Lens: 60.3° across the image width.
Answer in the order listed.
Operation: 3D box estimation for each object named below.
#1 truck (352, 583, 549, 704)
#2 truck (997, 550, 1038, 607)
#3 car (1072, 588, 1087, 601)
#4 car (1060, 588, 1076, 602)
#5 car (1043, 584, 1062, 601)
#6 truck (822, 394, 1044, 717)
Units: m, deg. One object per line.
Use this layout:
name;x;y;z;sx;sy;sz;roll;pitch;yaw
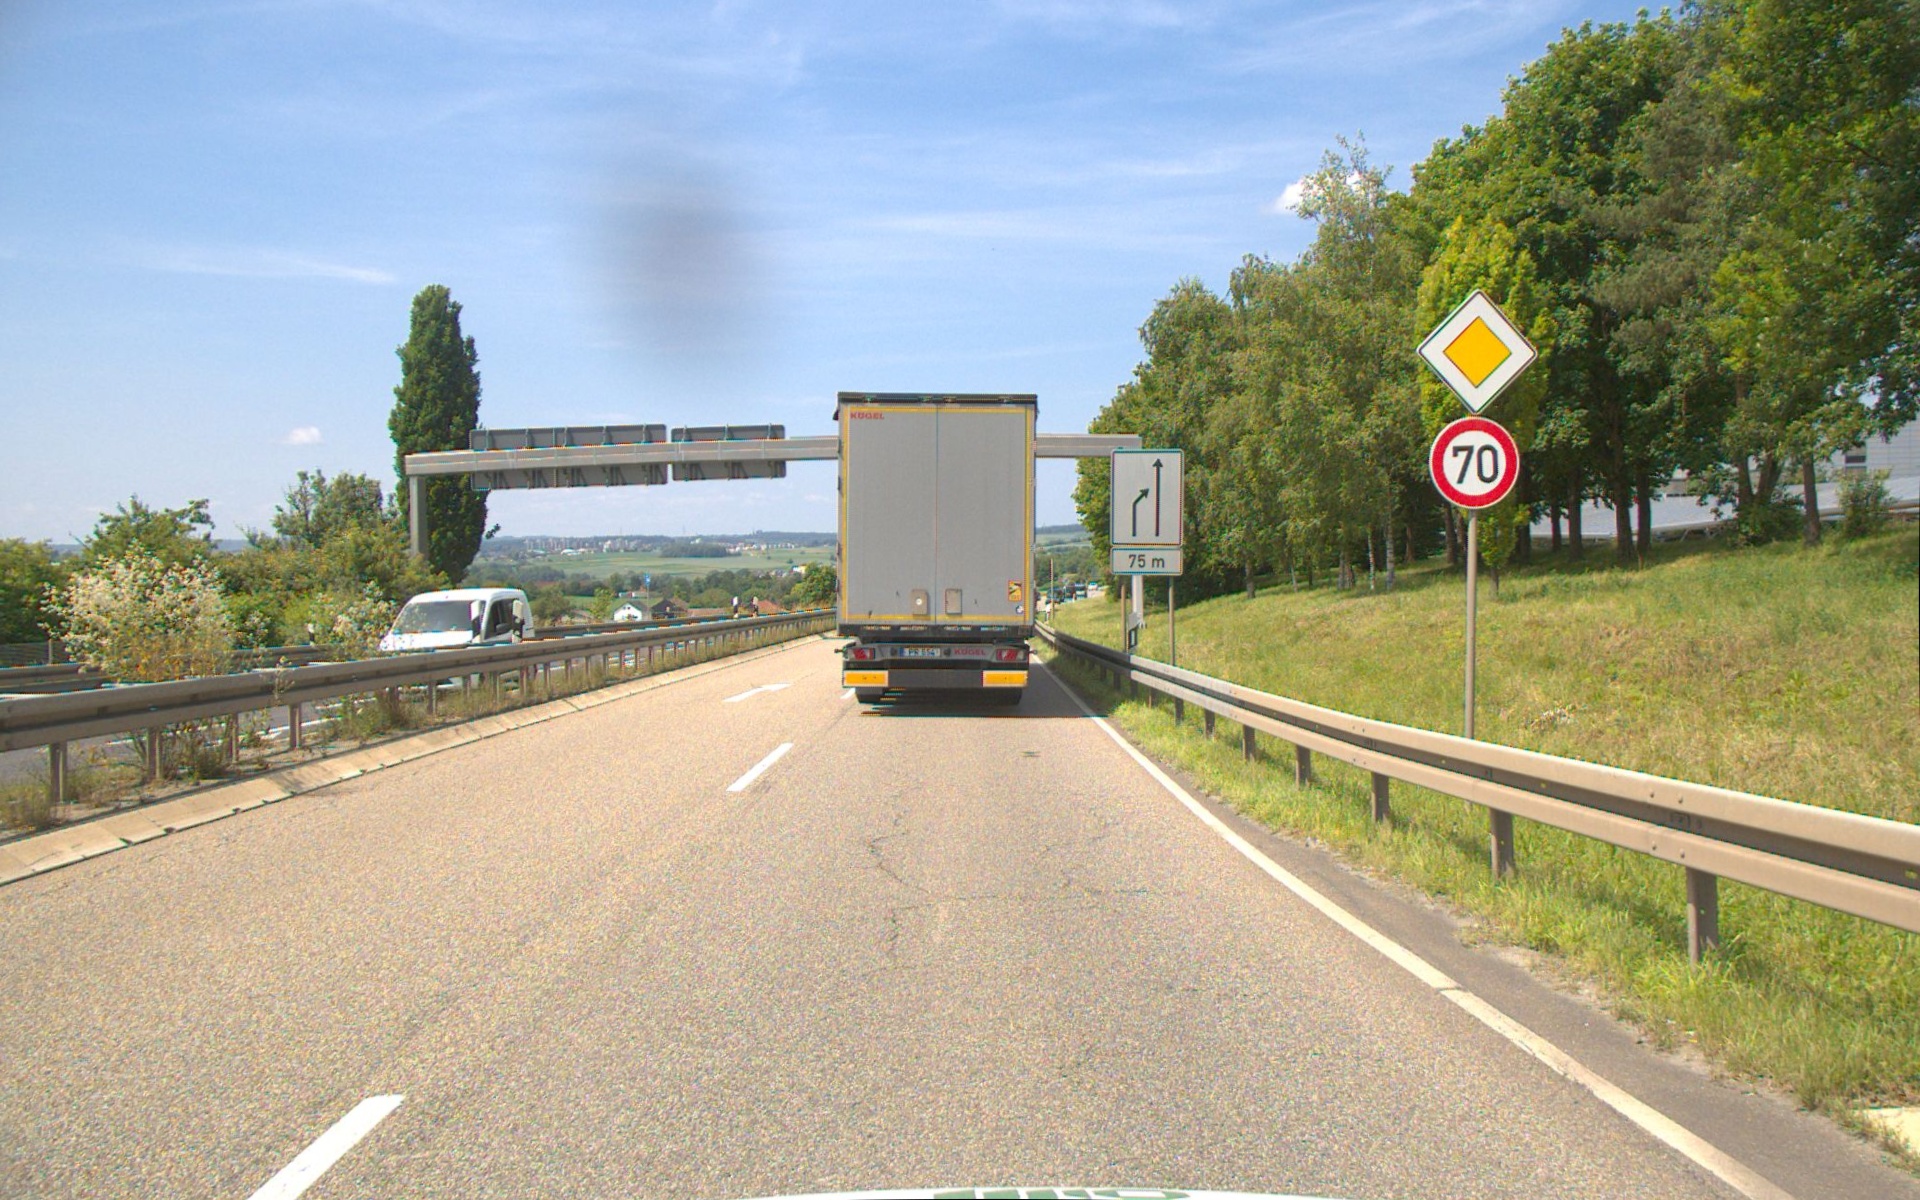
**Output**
truck;-8.507;0.702;28.053;1.811;1.779;4.537;-3;-1;1
truck;4.203;-1.451;118.804;2.600;3.830;10.166;0;-1;4
car;16.237;-0.762;224.605;1.750;1.717;4.000;0;-1;0
car;13.401;-0.638;204.894;1.750;1.717;4.000;0;-1;0
car;9.434;-0.753;169.000;1.750;1.717;4.000;0;-1;0
truck;-0.304;-0.572;26.208;2.742;3.998;11.341;0;0;0
